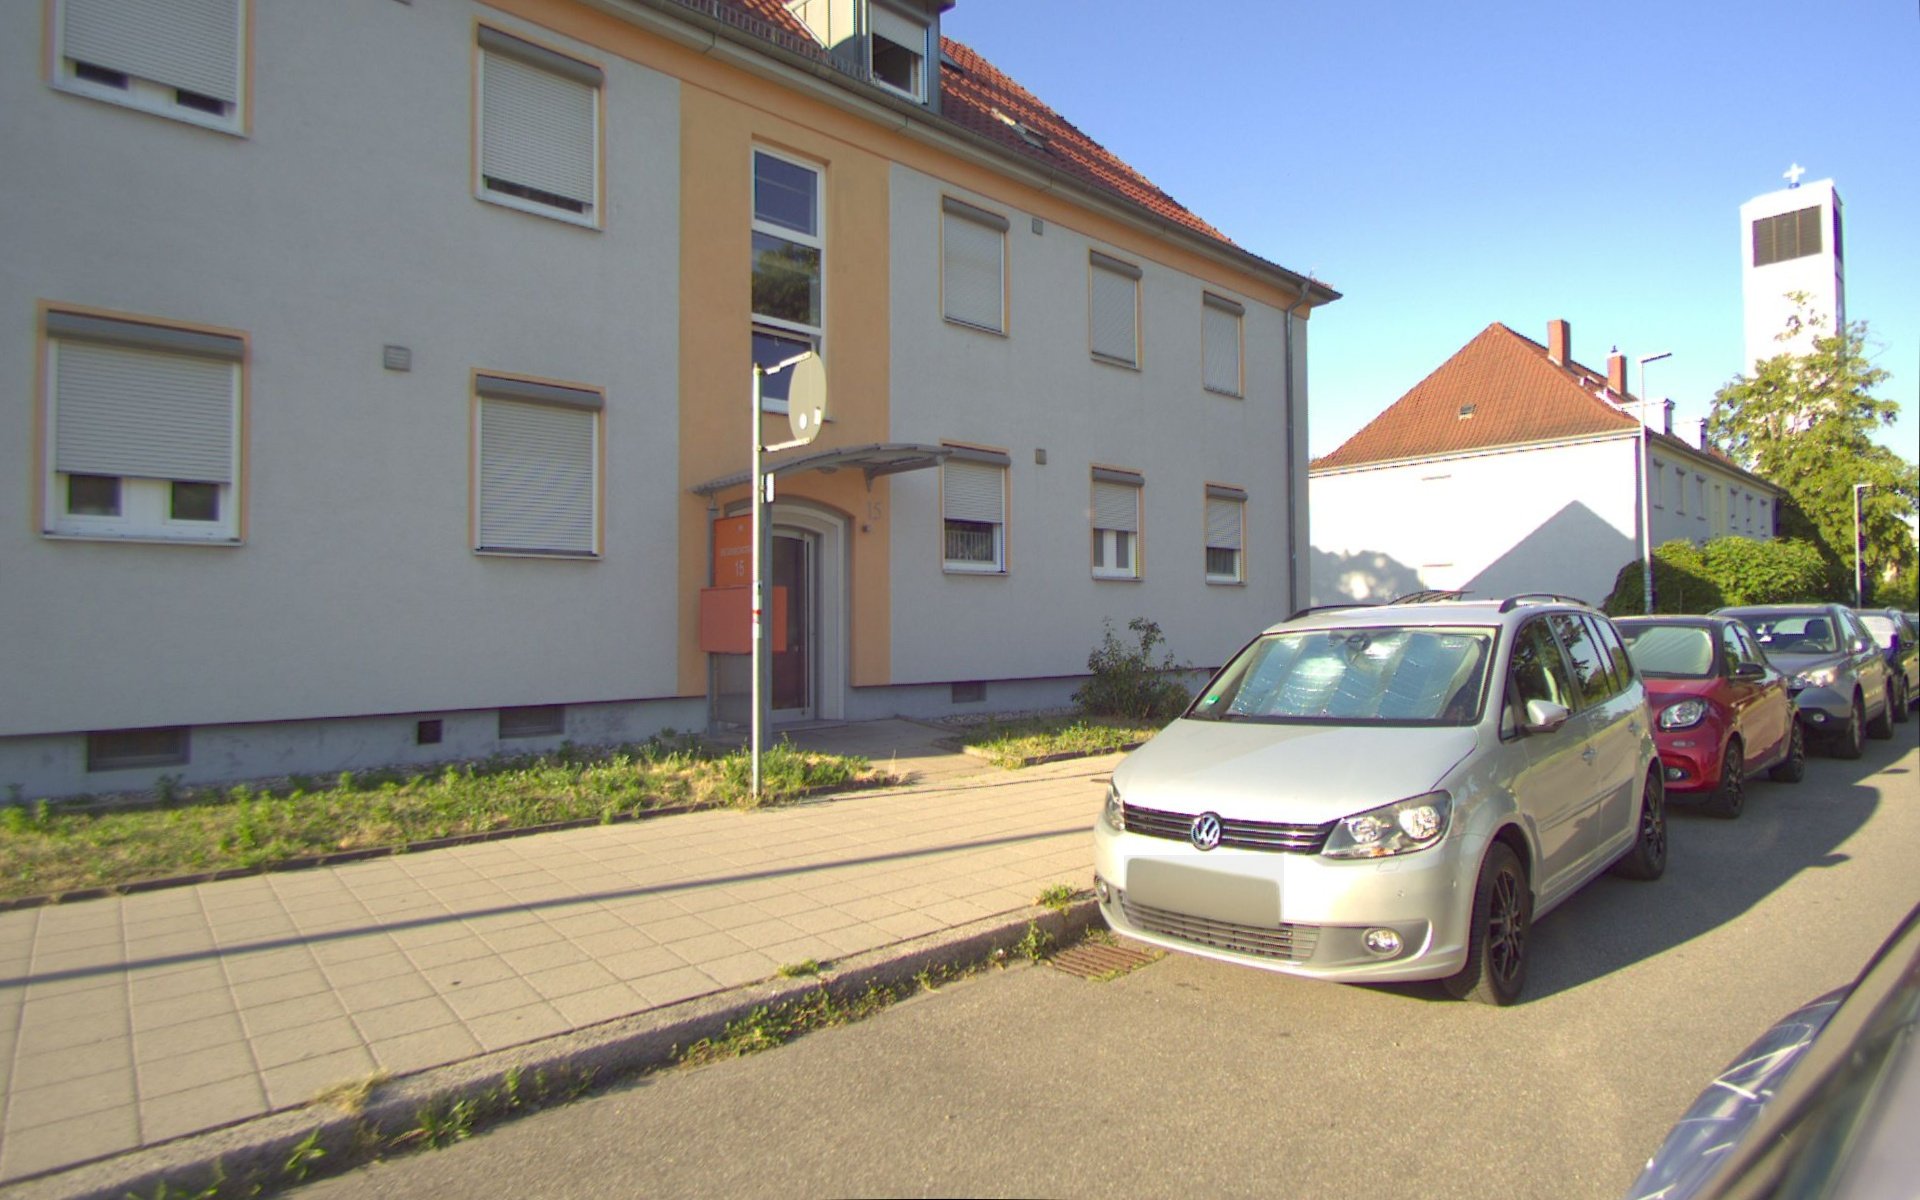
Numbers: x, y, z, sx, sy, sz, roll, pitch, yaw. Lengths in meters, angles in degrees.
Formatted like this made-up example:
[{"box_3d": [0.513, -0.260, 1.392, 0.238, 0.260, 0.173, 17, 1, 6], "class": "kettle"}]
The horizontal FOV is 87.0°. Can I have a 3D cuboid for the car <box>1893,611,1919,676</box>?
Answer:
[{"box_3d": [25.585, 1.027, 26.175, 4.137, 1.569, 1.728, 0, -6, -43], "class": "car"}]

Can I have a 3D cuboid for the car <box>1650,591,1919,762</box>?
[{"box_3d": [9.991, 0.758, 12.111, 4.674, 1.664, 1.779, 0, -1, -42], "class": "car"}]

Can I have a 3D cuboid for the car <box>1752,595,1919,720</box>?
[{"box_3d": [13.950, 0.789, 15.700, 4.682, 1.656, 1.768, 0, -2, -42], "class": "car"}]

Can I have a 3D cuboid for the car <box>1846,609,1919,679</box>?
[{"box_3d": [21.921, 0.961, 22.981, 4.480, 1.481, 1.997, 1, -3, -40], "class": "car"}]

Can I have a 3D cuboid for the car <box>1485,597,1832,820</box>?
[{"box_3d": [6.293, 0.776, 8.971, 3.670, 1.546, 1.732, 1, 0, -42], "class": "car"}]

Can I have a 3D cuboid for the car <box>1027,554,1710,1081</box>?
[{"box_3d": [2.503, 0.742, 5.426, 4.489, 1.660, 1.717, 1, -4, -45], "class": "car"}]

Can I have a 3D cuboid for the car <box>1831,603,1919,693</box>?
[{"box_3d": [18.202, 0.872, 19.507, 4.343, 1.581, 1.725, 1, -2, -44], "class": "car"}]
